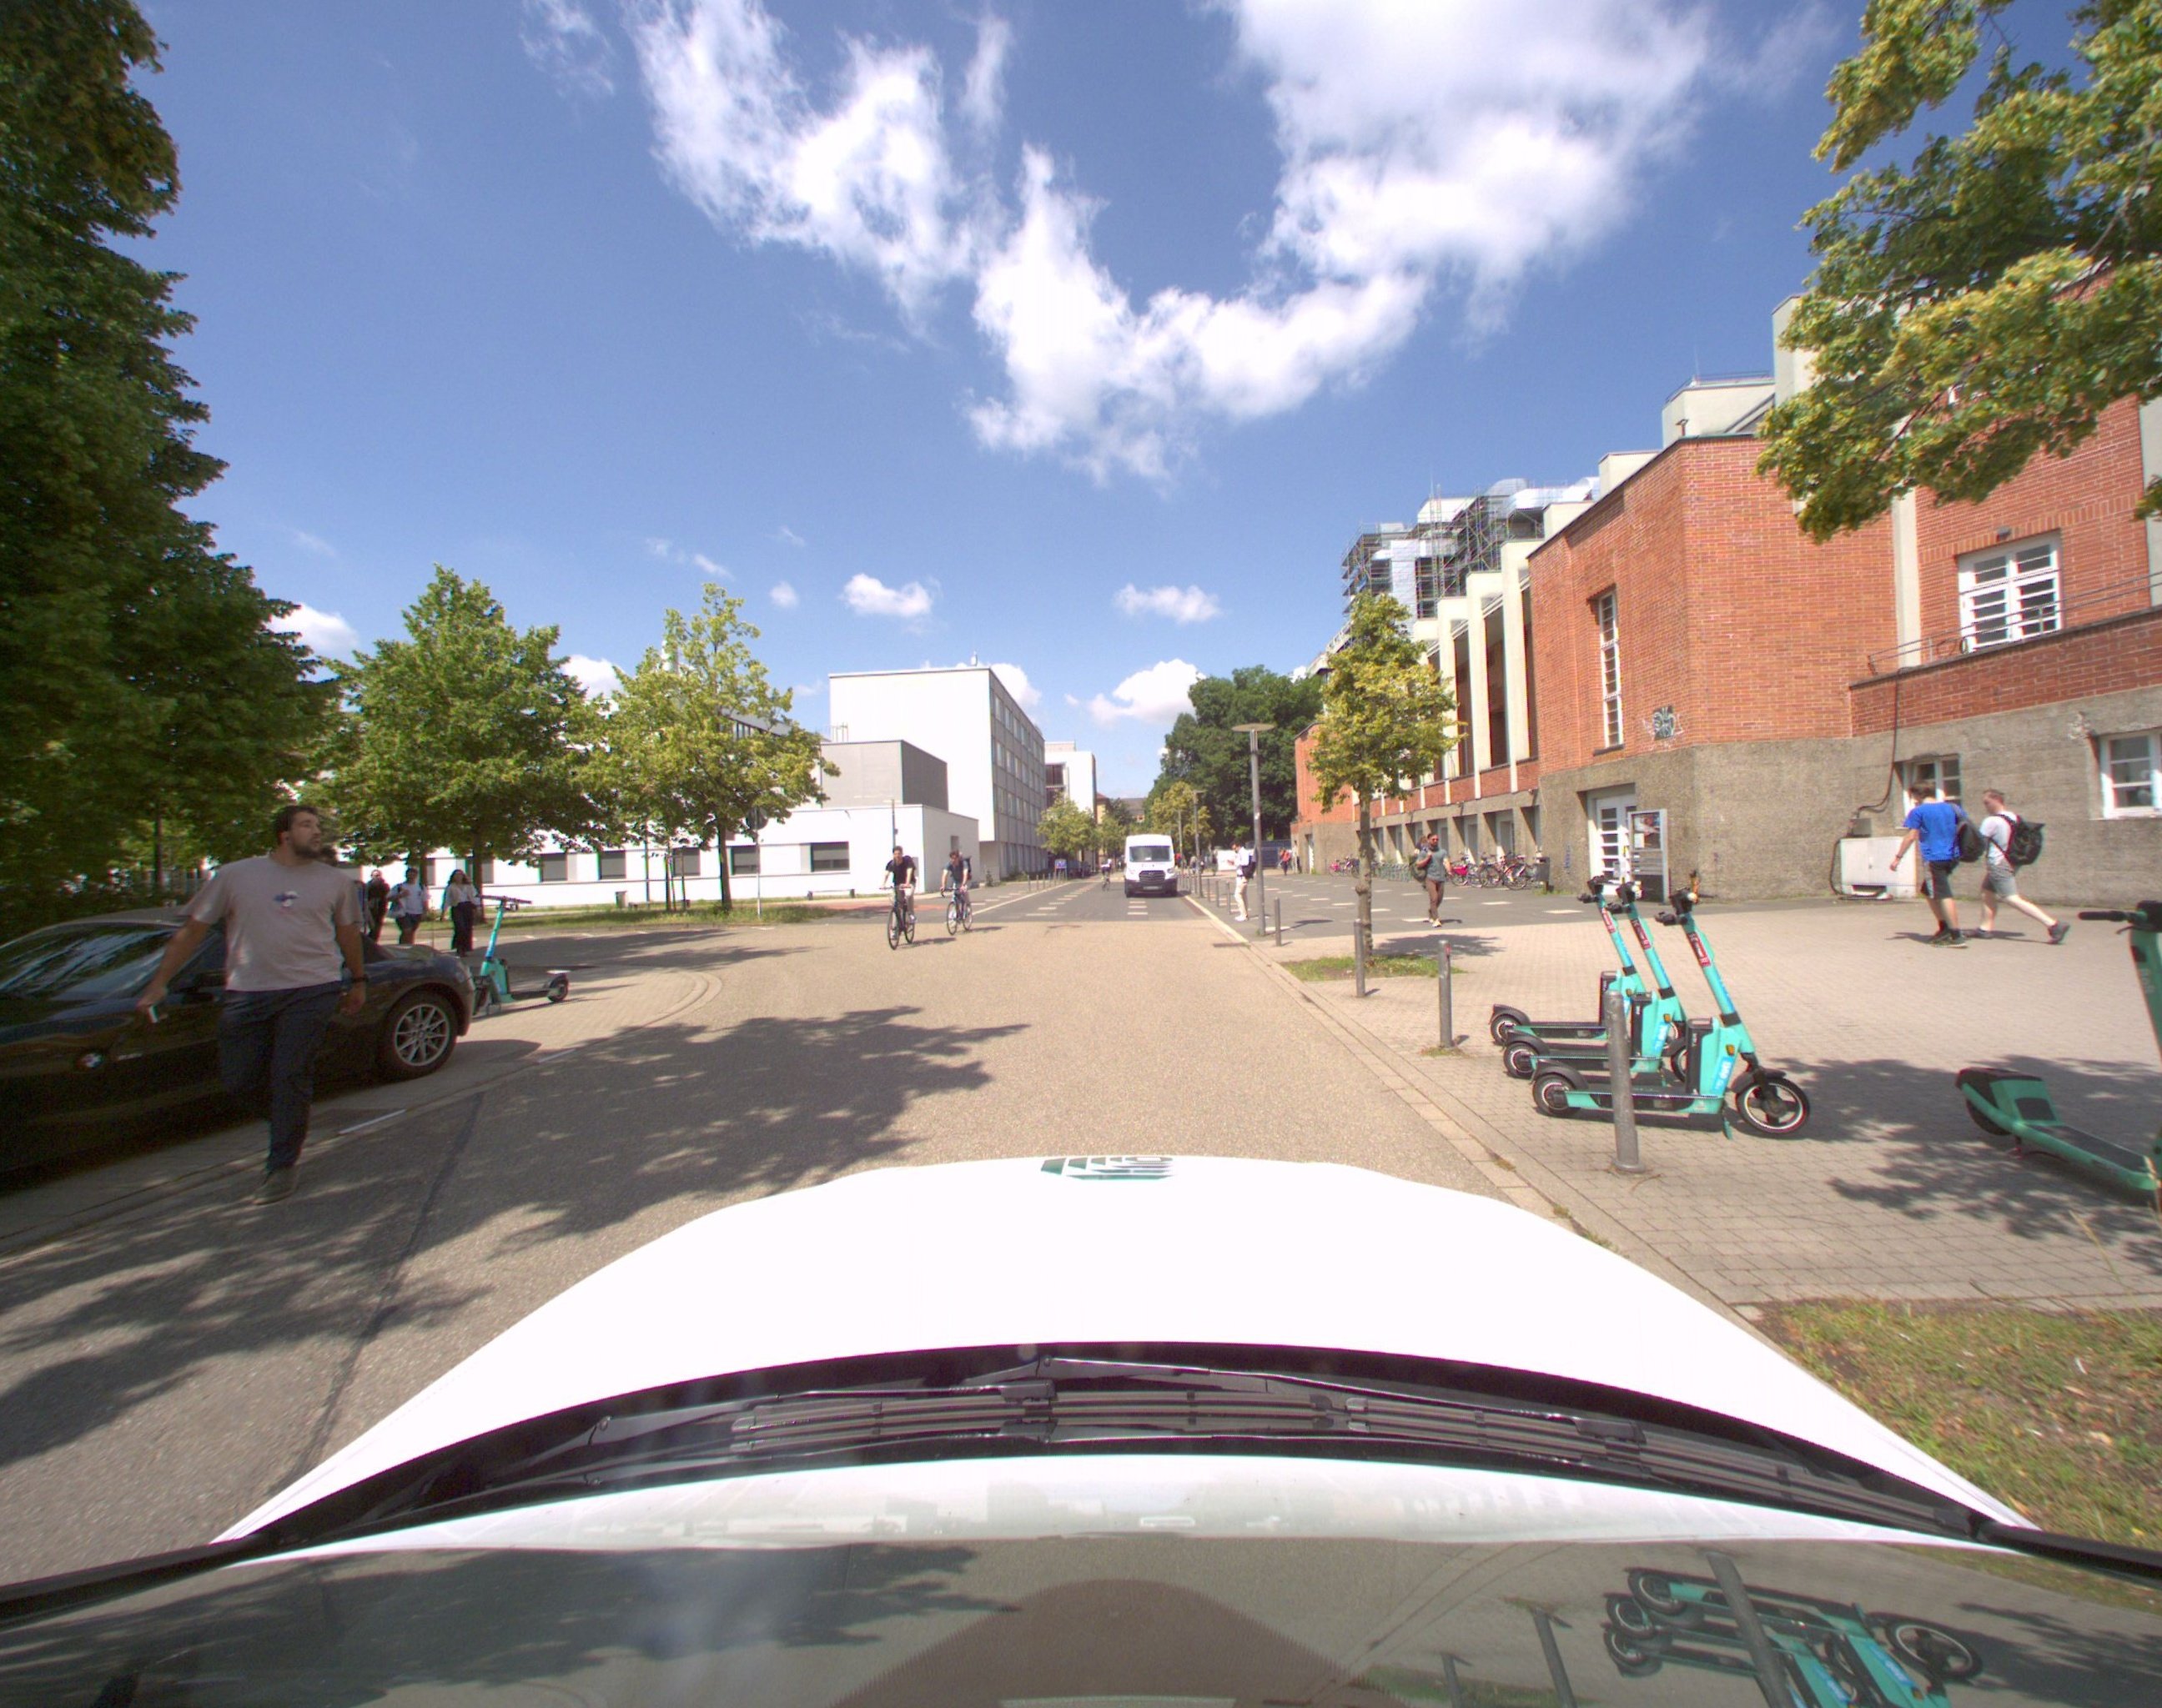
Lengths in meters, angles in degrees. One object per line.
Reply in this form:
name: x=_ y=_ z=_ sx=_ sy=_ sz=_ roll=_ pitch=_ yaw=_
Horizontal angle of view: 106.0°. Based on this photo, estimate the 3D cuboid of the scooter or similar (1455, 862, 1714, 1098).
scooter or similar: x=3.102 y=0.717 z=5.072 sx=1.248 sy=1.265 sz=0.655 roll=-3 pitch=-1 yaw=36

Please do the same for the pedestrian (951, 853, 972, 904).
pedestrian: x=-4.291 y=0.882 z=29.220 sx=0.666 sy=1.785 sz=0.982 roll=-2 pitch=-2 yaw=-9

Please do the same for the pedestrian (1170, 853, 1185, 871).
pedestrian: x=11.607 y=0.950 z=98.334 sx=1.494 sy=1.996 sz=1.647 roll=-5 pitch=0 yaw=2

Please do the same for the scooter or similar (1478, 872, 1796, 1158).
scooter or similar: x=2.878 y=0.758 z=4.309 sx=1.248 sy=1.265 sz=0.655 roll=-3 pitch=-1 yaw=36

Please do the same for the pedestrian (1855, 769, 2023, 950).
pedestrian: x=9.683 y=0.061 z=9.233 sx=0.701 sy=1.891 sz=0.990 roll=-5 pitch=0 yaw=-10

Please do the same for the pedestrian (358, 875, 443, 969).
pedestrian: x=-13.177 y=1.299 z=15.783 sx=0.844 sy=1.708 sz=0.859 roll=-3 pitch=1 yaw=19

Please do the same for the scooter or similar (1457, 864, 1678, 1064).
scooter or similar: x=3.484 y=0.736 z=5.864 sx=1.248 sy=1.265 sz=0.644 roll=-3 pitch=-1 yaw=36

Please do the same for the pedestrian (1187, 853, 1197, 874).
pedestrian: x=9.715 y=0.832 z=71.243 sx=0.786 sy=1.860 sz=1.245 roll=-3 pitch=-1 yaw=5

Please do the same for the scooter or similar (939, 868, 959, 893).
scooter or similar: x=-6.580 y=1.309 z=40.503 sx=0.374 sy=1.216 sz=1.211 roll=-3 pitch=-1 yaw=20

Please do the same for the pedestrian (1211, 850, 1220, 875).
pedestrian: x=10.358 y=0.662 z=62.664 sx=0.574 sy=1.860 sz=0.570 roll=-3 pitch=-1 yaw=2

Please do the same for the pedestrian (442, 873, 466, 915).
pedestrian: x=-27.125 y=1.722 z=35.246 sx=0.549 sy=1.764 sz=0.587 roll=-2 pitch=-1 yaw=4

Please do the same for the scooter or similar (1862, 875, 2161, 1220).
scooter or similar: x=4.110 y=0.703 z=3.453 sx=0.643 sy=1.160 sz=1.271 roll=-3 pitch=-1 yaw=19

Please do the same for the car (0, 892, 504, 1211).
car: x=-5.594 y=0.984 z=4.562 sx=1.637 sy=1.300 sz=3.933 roll=-3 pitch=0 yaw=5

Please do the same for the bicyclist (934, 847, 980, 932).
bicyclist: x=-2.575 y=0.712 z=16.989 sx=0.665 sy=1.681 sz=0.993 roll=-3 pitch=0 yaw=2

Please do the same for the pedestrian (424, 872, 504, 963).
pedestrian: x=-12.214 y=1.243 z=16.144 sx=0.844 sy=1.708 sz=0.859 roll=-3 pitch=1 yaw=22

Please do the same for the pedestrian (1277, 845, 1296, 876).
pedestrian: x=13.084 y=0.411 z=51.932 sx=0.848 sy=1.860 sz=1.117 roll=-3 pitch=-1 yaw=2

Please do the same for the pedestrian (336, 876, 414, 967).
pedestrian: x=-14.377 y=1.357 z=16.596 sx=0.843 sy=1.750 sz=0.860 roll=-3 pitch=1 yaw=28

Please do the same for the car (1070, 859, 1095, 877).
car: x=0.194 y=1.319 z=77.143 sx=1.785 sy=1.530 sz=4.009 roll=-3 pitch=0 yaw=8

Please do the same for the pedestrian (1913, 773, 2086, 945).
pedestrian: x=10.474 y=0.051 z=9.326 sx=0.701 sy=1.803 sz=0.990 roll=-5 pitch=0 yaw=-10

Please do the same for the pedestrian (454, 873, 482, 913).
pedestrian: x=-27.097 y=1.720 z=36.008 sx=0.690 sy=1.749 sz=0.637 roll=-2 pitch=-1 yaw=4

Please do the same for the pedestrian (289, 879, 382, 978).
pedestrian: x=-13.633 y=1.347 z=14.913 sx=0.844 sy=1.708 sz=0.858 roll=-3 pitch=1 yaw=16

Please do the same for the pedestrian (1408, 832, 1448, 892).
pedestrian: x=11.108 y=0.244 z=26.092 sx=0.786 sy=1.860 sz=1.118 roll=-3 pitch=-1 yaw=5

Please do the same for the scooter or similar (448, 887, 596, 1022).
scooter or similar: x=-6.049 y=1.050 z=8.879 sx=0.500 sy=1.299 sz=1.221 roll=-4 pitch=0 yaw=16

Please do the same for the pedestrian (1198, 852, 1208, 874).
pedestrian: x=10.632 y=0.785 z=70.988 sx=0.786 sy=1.860 sz=1.027 roll=-3 pitch=-1 yaw=5

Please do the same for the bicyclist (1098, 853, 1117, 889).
bicyclist: x=1.313 y=0.834 z=40.561 sx=0.713 sy=1.662 sz=1.097 roll=-4 pitch=0 yaw=6

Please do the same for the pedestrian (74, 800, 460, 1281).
pedestrian: x=-3.812 y=0.743 z=3.995 sx=1.020 sy=1.903 sz=1.168 roll=-1 pitch=-1 yaw=-28

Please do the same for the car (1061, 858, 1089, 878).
car: x=-0.492 y=1.166 z=69.751 sx=1.785 sy=1.530 sz=4.009 roll=-3 pitch=0 yaw=8

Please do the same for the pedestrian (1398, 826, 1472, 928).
pedestrian: x=6.394 y=0.403 z=14.769 sx=0.849 sy=1.733 sz=1.162 roll=-3 pitch=-1 yaw=7

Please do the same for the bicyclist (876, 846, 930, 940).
bicyclist: x=-3.180 y=0.686 z=14.626 sx=0.641 sy=1.601 sz=0.909 roll=-3 pitch=-1 yaw=2

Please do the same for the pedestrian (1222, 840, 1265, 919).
pedestrian: x=3.692 y=0.573 z=18.596 sx=0.699 sy=1.694 sz=0.963 roll=-5 pitch=-1 yaw=4

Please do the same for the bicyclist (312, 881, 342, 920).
bicyclist: x=-35.322 y=2.165 z=38.174 sx=0.691 sy=1.756 sz=0.808 roll=-1 pitch=-1 yaw=-12

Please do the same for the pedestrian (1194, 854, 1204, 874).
pedestrian: x=10.858 y=0.908 z=74.804 sx=0.786 sy=1.860 sz=1.027 roll=-3 pitch=-1 yaw=5
